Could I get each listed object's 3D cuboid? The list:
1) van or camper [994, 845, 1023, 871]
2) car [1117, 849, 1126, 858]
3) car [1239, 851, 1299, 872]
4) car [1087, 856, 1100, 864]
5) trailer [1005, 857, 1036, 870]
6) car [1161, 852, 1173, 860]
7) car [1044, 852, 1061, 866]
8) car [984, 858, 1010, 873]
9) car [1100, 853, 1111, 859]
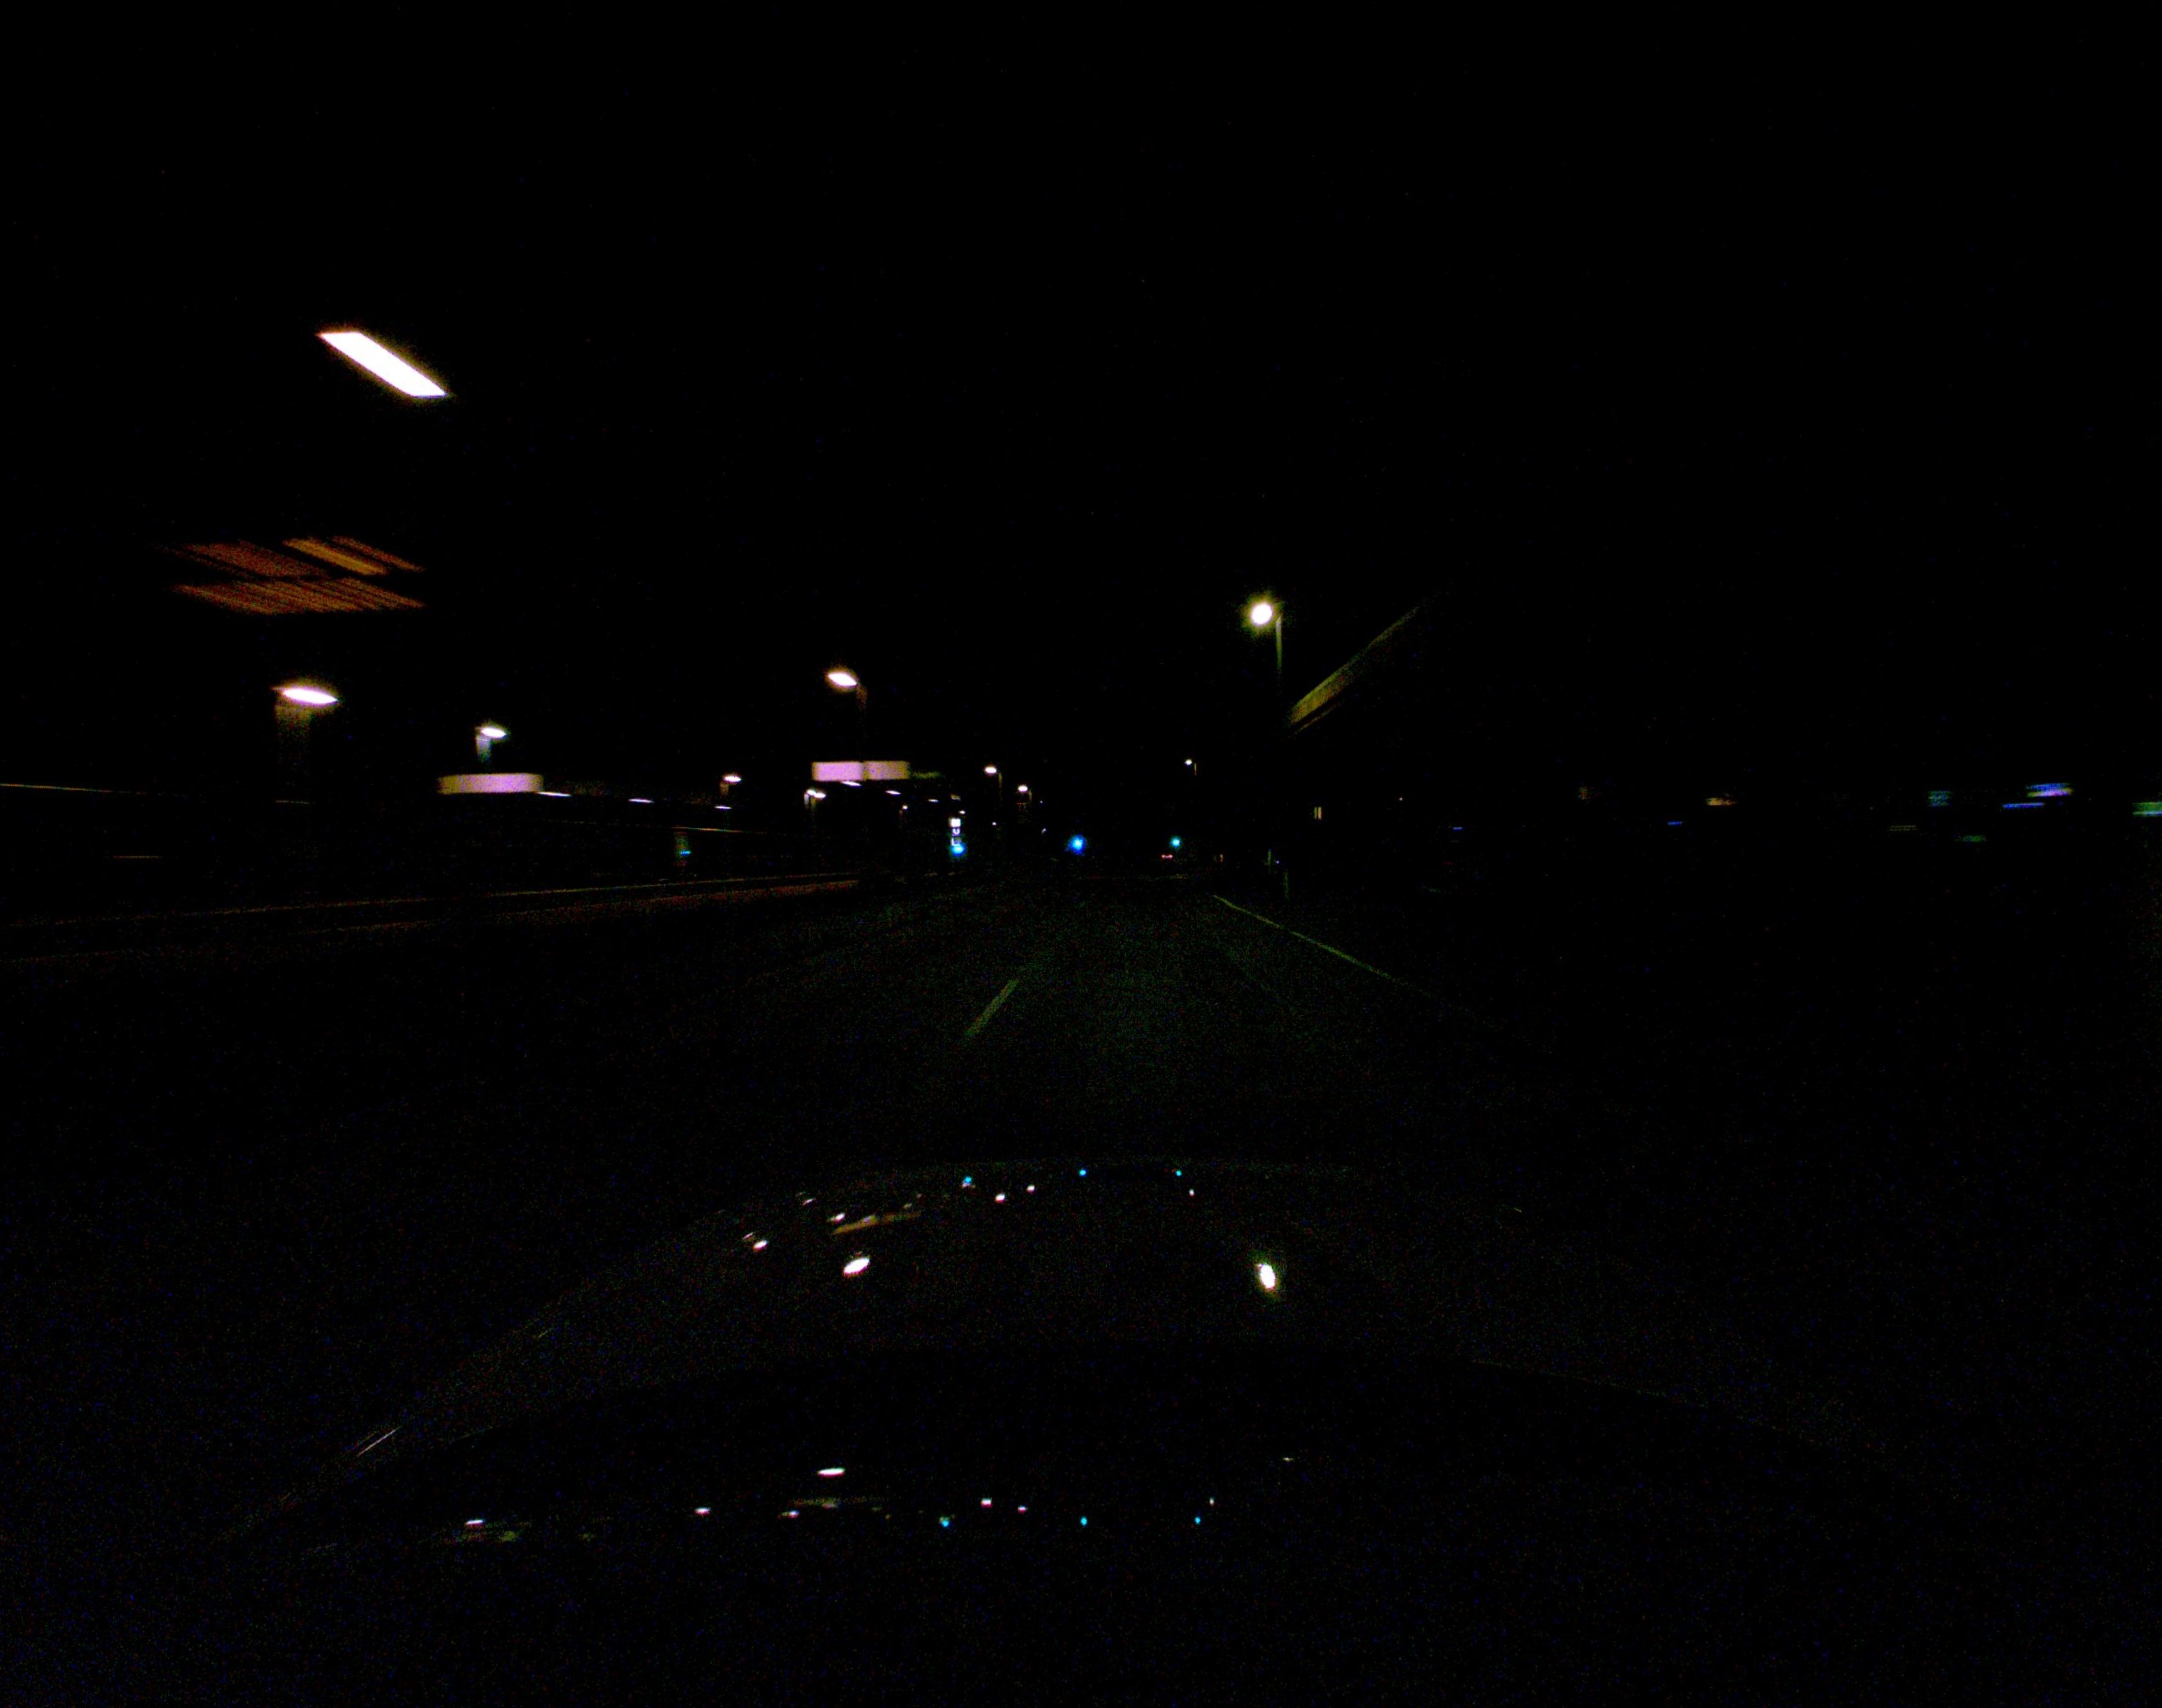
[{"bbox_3d":[-8.117,0.410,92.200,2.262,2.647,5.670,-4,0,4],"label":"van or camper"},{"bbox_3d":[10.804,-0.159,216.710,2.080,2.013,4.009,-6,0,8],"label":"car"},{"bbox_3d":[12.826,0.508,55.672,3.746,1.354,1.862,-2,0,5],"label":"car"},{"bbox_3d":[2.617,1.267,166.996,1.982,1.628,4.687,-1,0,8],"label":"car"},{"bbox_3d":[-7.333,1.135,99.033,2.403,1.374,4.671,-5,-1,13],"label":"trailer"},{"bbox_3d":[15.789,0.368,149.519,2.151,1.583,4.019,-1,0,5],"label":"car"},{"bbox_3d":[-4.117,0.724,119.037,1.848,1.904,4.887,-1,0,6],"label":"car"},{"bbox_3d":[-8.831,1.189,85.795,1.637,1.339,4.552,-6,0,7],"label":"car"},{"bbox_3d":[5.642,0.451,186.477,1.982,1.338,5.444,-1,0,8],"label":"car"}]
